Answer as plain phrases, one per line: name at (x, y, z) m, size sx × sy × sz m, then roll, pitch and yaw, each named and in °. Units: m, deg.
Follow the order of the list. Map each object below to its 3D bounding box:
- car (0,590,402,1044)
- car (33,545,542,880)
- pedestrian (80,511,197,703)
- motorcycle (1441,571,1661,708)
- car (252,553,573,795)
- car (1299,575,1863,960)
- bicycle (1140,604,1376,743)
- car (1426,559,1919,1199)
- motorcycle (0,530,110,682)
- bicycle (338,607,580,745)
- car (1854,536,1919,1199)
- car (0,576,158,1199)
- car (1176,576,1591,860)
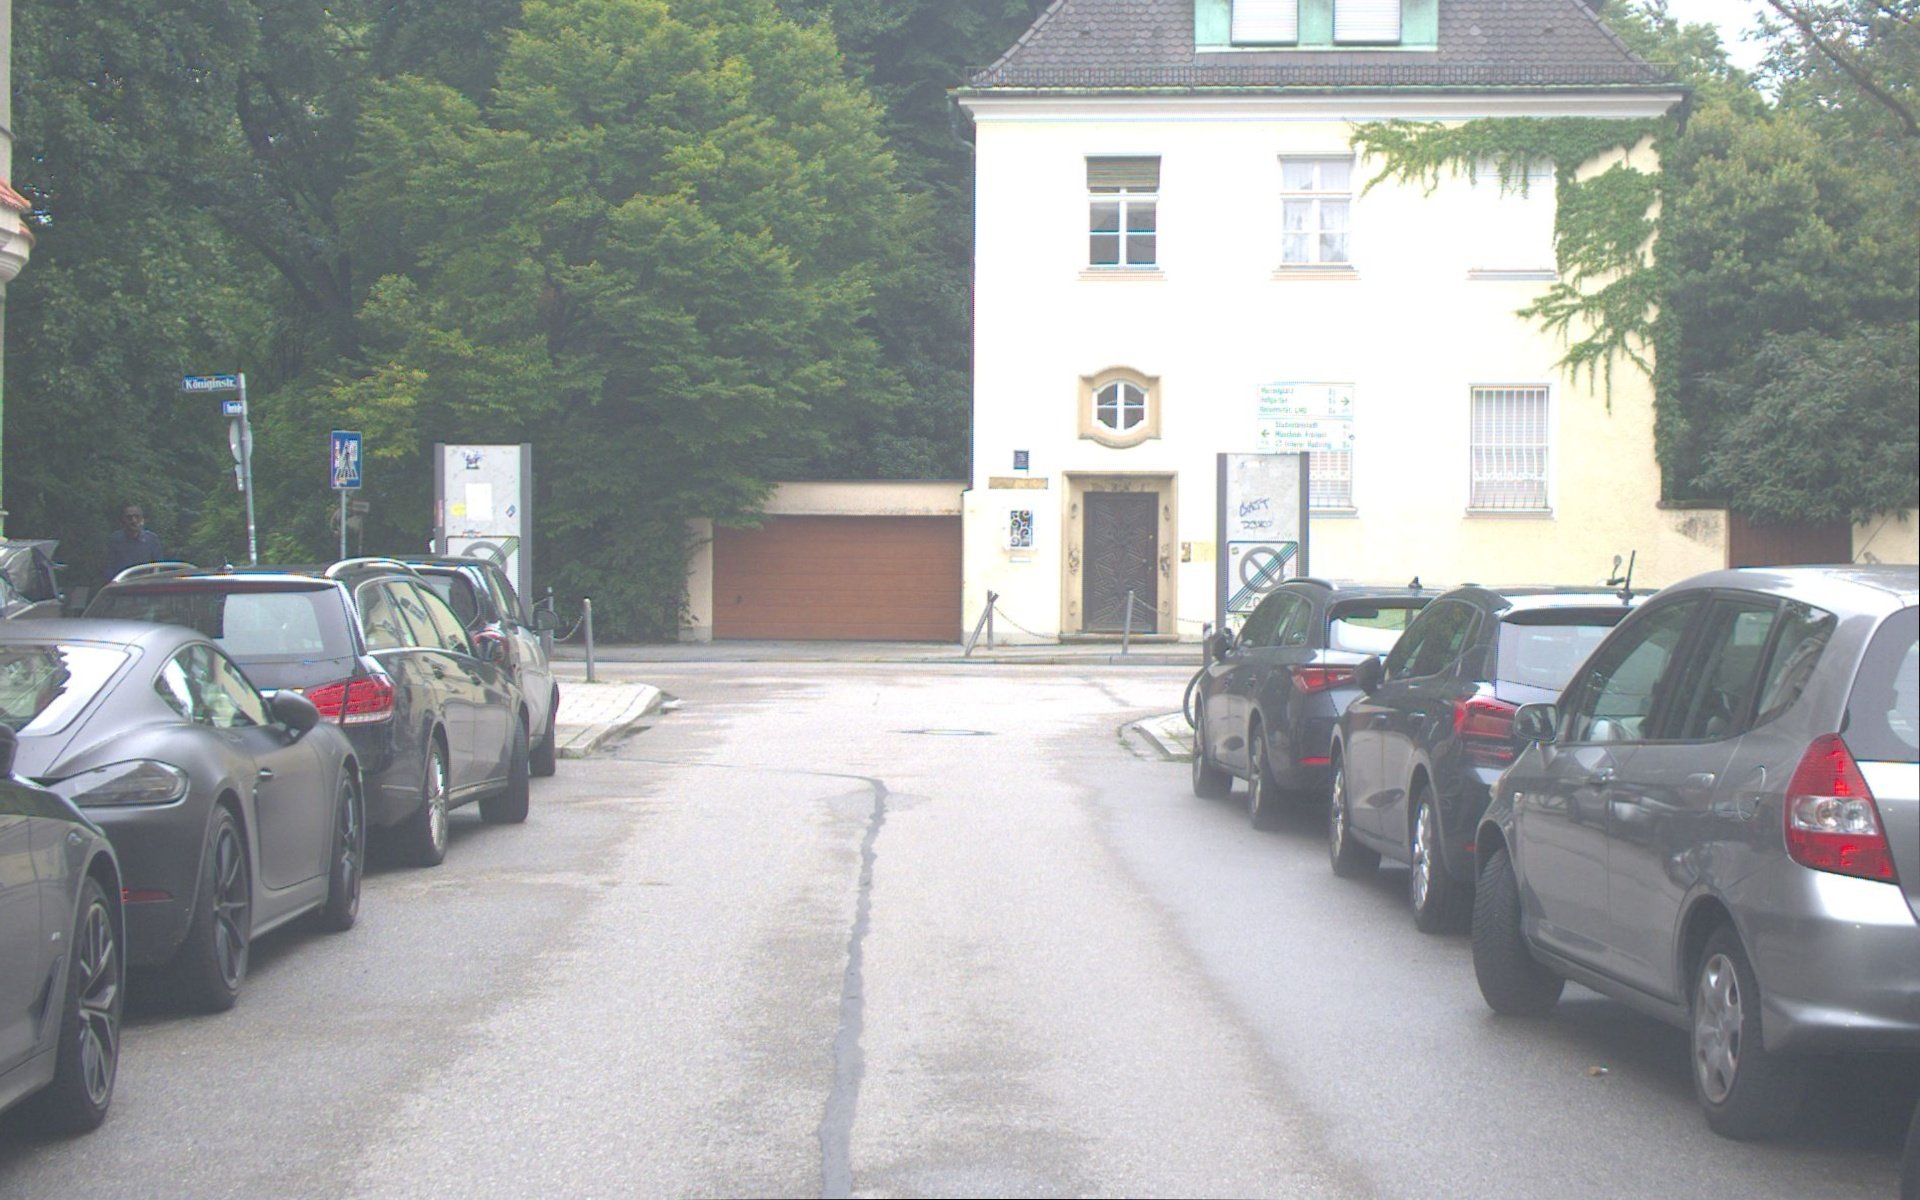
car at (-3.247, 0.659, 12.584) m, size 1.755 × 1.326 × 4.097 m, roll 0°, pitch 1°, yaw 0°
car at (-3.344, 0.472, 17.983) m, size 1.755 × 1.510 × 4.708 m, roll 0°, pitch 1°, yaw 0°
pedestrian at (-7.771, 0.057, 32.561) m, size 0.839 × 1.781 × 0.936 m, roll 1°, pitch 1°, yaw 2°
motorcycle at (6.016, 0.401, 34.970) m, size 2.077 × 1.351 × 0.817 m, roll 1°, pitch 1°, yaw -24°
car at (-3.613, 0.448, 23.112) m, size 1.704 × 1.510 × 2.911 m, roll 0°, pitch 1°, yaw 0°
car at (2.641, 0.650, 15.487) m, size 1.633 × 1.466 × 3.856 m, roll 1°, pitch 1°, yaw -3°
bicycle at (2.444, 0.589, 28.243) m, size 1.794 × 1.082 × 0.665 m, roll 0°, pitch 2°, yaw 26°
car at (2.641, 0.663, 10.285) m, size 1.633 × 1.531 × 3.856 m, roll 1°, pitch 1°, yaw -5°
motorcycle at (-8.943, 0.040, 33.737) m, size 0.736 × 1.436 × 2.147 m, roll 1°, pitch 1°, yaw -2°
bicycle at (-3.906, 0.588, 26.875) m, size 1.802 × 1.011 × 0.540 m, roll 2°, pitch 1°, yaw -2°
car at (2.678, 0.715, 4.737) m, size 1.633 × 1.586 × 3.969 m, roll 1°, pitch 1°, yaw -3°
car at (-3.138, 0.692, 7.209) m, size 1.993 × 1.443 × 4.779 m, roll 0°, pitch 1°, yaw -3°
car at (2.427, 0.622, 20.817) m, size 1.692 × 1.466 × 4.612 m, roll 1°, pitch 1°, yaw -3°
